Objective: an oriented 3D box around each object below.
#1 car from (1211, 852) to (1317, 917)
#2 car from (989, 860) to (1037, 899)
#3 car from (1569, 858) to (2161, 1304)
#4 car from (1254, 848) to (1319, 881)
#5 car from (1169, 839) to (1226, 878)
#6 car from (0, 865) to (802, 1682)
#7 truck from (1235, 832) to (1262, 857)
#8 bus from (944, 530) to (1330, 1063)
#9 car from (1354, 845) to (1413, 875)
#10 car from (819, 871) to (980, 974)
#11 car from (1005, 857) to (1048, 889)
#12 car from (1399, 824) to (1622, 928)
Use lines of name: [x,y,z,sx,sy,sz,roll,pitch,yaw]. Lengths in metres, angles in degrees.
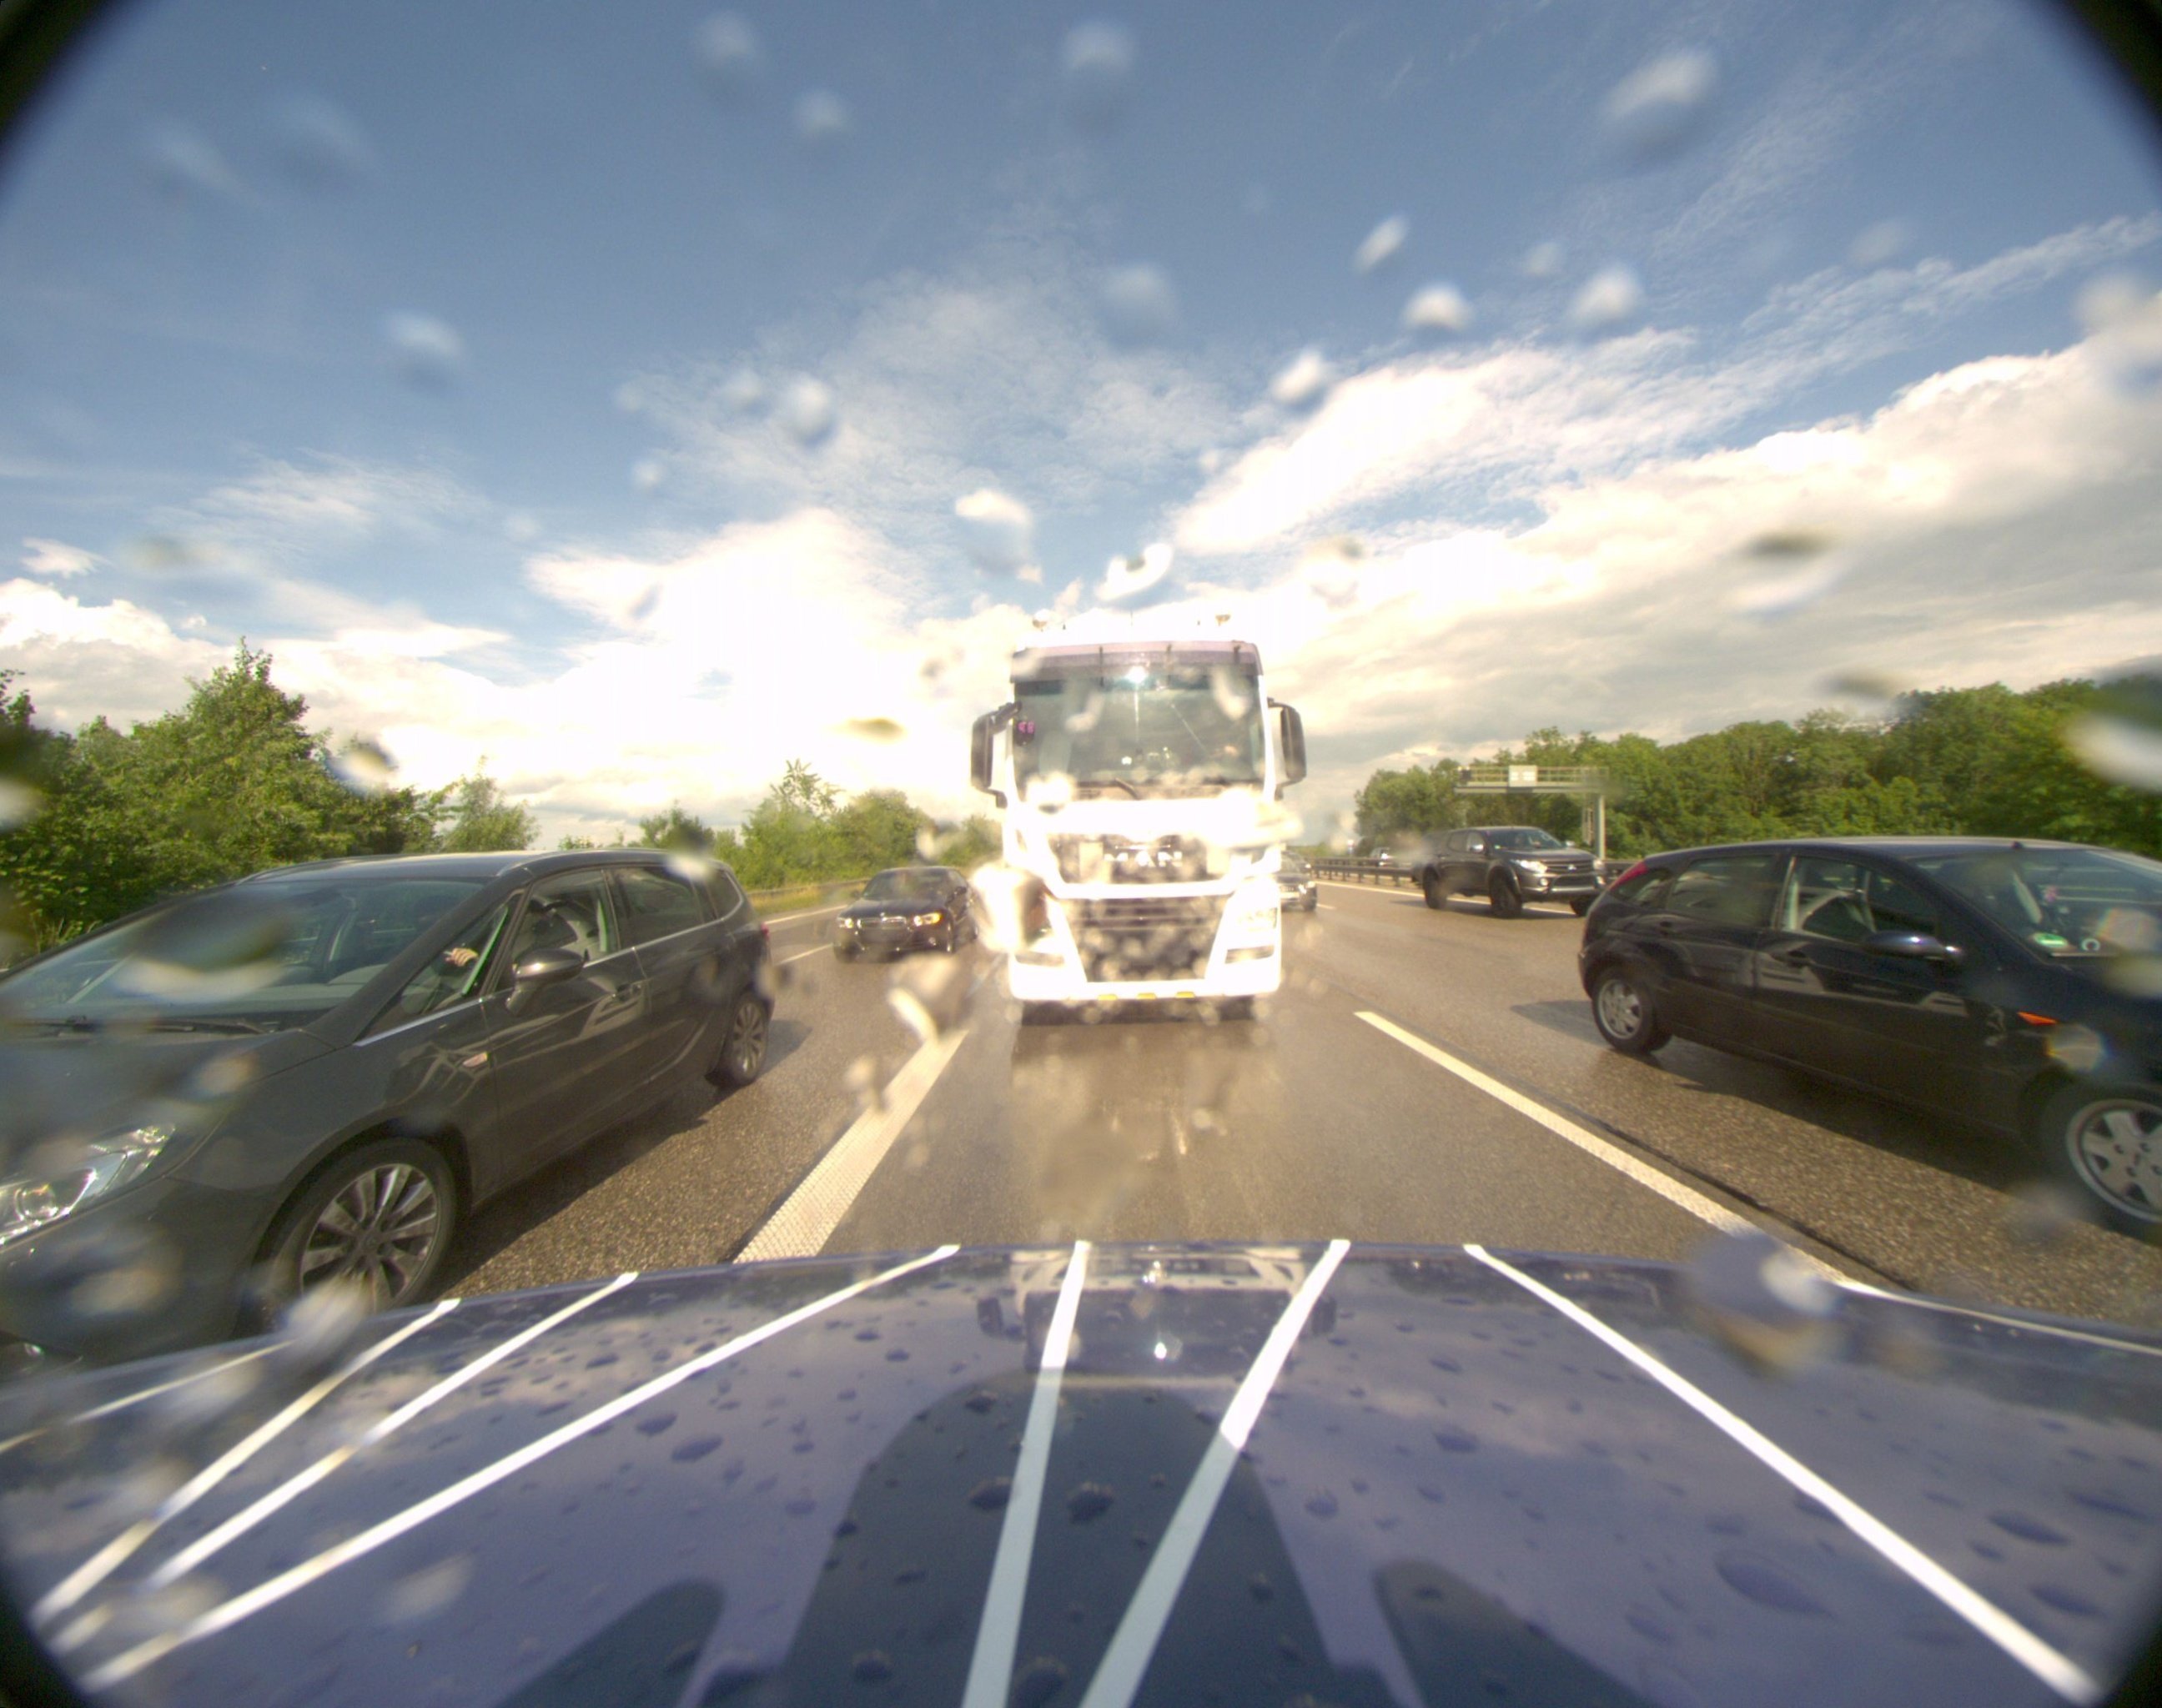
car: [4.558,0.700,19.539,1.754,1.425,4.054,-2,0,1]
car: [-2.679,0.964,30.661,1.744,1.357,3.998,-2,0,-3]
car: [4.545,0.782,3.699,1.763,1.435,4.000,-2,0,0]
car: [9.538,0.453,35.604,1.925,1.416,4.372,-2,1,2]
car: [5.495,0.195,36.406,1.881,1.669,4.625,-2,0,-1]
car: [-3.184,0.942,3.586,1.858,1.622,4.735,-2,0,1]
truck: [27.100,-1.547,123.169,2.799,3.861,8.919,-2,0,3]
bus: [0.491,-0.462,10.934,2.904,4.104,9.844,-2,0,1]
car: [16.736,0.307,42.286,1.707,1.508,4.000,-2,0,1]
car: [-2.861,1.024,12.852,1.722,1.346,3.884,-2,0,1]
car: [-2.686,0.897,38.116,1.858,1.434,3.999,-2,1,-1]
car: [8.951,0.389,16.529,1.811,1.833,5.418,-2,0,1]
